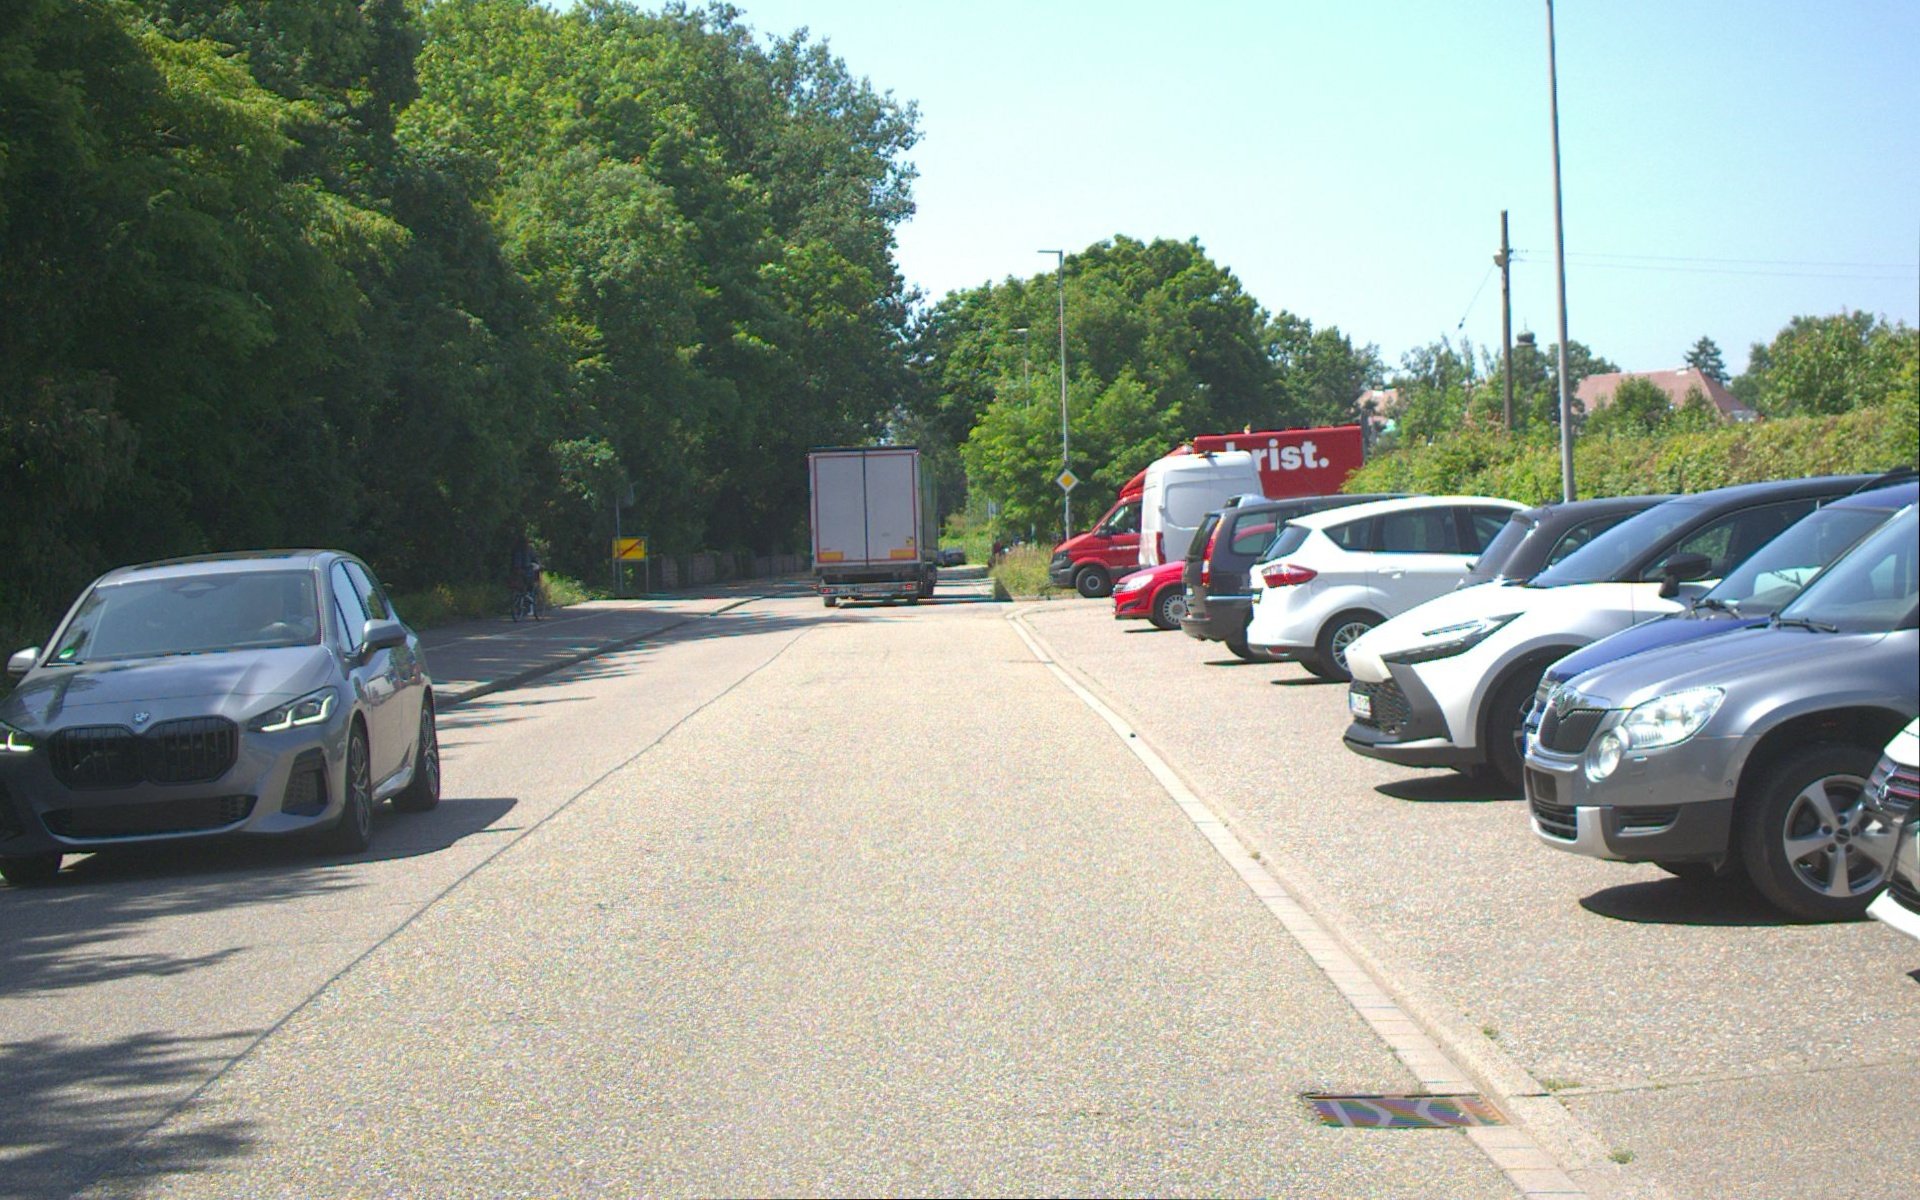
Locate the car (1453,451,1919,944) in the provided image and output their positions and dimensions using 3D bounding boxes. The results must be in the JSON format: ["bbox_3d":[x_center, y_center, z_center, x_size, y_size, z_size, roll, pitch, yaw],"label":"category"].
[{"bbox_3d":[4.106,0.219,13.263,3.959,1.634,1.664,-5,2,-6],"label":"car"}]

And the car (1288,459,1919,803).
[{"bbox_3d":[4.015,0.108,19.060,3.962,1.517,1.865,-5,2,-6],"label":"car"}]

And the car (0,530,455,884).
[{"bbox_3d":[-3.958,0.473,18.413,1.891,1.527,4.197,-5,1,-2],"label":"car"}]

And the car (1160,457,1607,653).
[{"bbox_3d":[4.593,-0.494,37.723,4.452,1.798,1.953,-4,1,-5],"label":"car"}]

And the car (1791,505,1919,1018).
[{"bbox_3d":[4.579,0.316,10.373,3.690,1.445,1.610,-5,2,3],"label":"car"}]

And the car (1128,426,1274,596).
[{"bbox_3d":[4.194,-1.579,60.959,1.954,2.724,7.168,-4,1,0],"label":"car"}]

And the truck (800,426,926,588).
[{"bbox_3d":[-2.313,-2.284,86.295,2.733,3.733,13.246,-1,1,0],"label":"truck"}]

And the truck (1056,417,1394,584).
[{"bbox_3d":[5.829,-2.168,75.140,7.139,3.428,2.329,-1,2,9],"label":"truck"}]

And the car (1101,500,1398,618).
[{"bbox_3d":[4.224,-0.614,50.587,4.053,1.429,1.836,-4,1,-3],"label":"car"}]

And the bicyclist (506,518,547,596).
[{"bbox_3d":[-8.795,-0.879,69.799,0.648,1.559,0.837,-2,1,3],"label":"bicyclist"}]

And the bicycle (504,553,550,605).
[{"bbox_3d":[-8.783,-0.431,69.744,0.561,1.023,1.839,-2,1,3],"label":"bicycle"}]

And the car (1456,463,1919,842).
[{"bbox_3d":[4.273,0.150,16.195,3.452,1.522,1.540,-5,2,-6],"label":"car"}]

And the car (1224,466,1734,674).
[{"bbox_3d":[4.702,-0.288,31.513,4.275,1.572,1.766,-4,1,-2],"label":"car"}]

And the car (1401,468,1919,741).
[{"bbox_3d":[4.639,0.000,22.062,3.388,1.498,1.588,-3,2,3],"label":"car"}]
